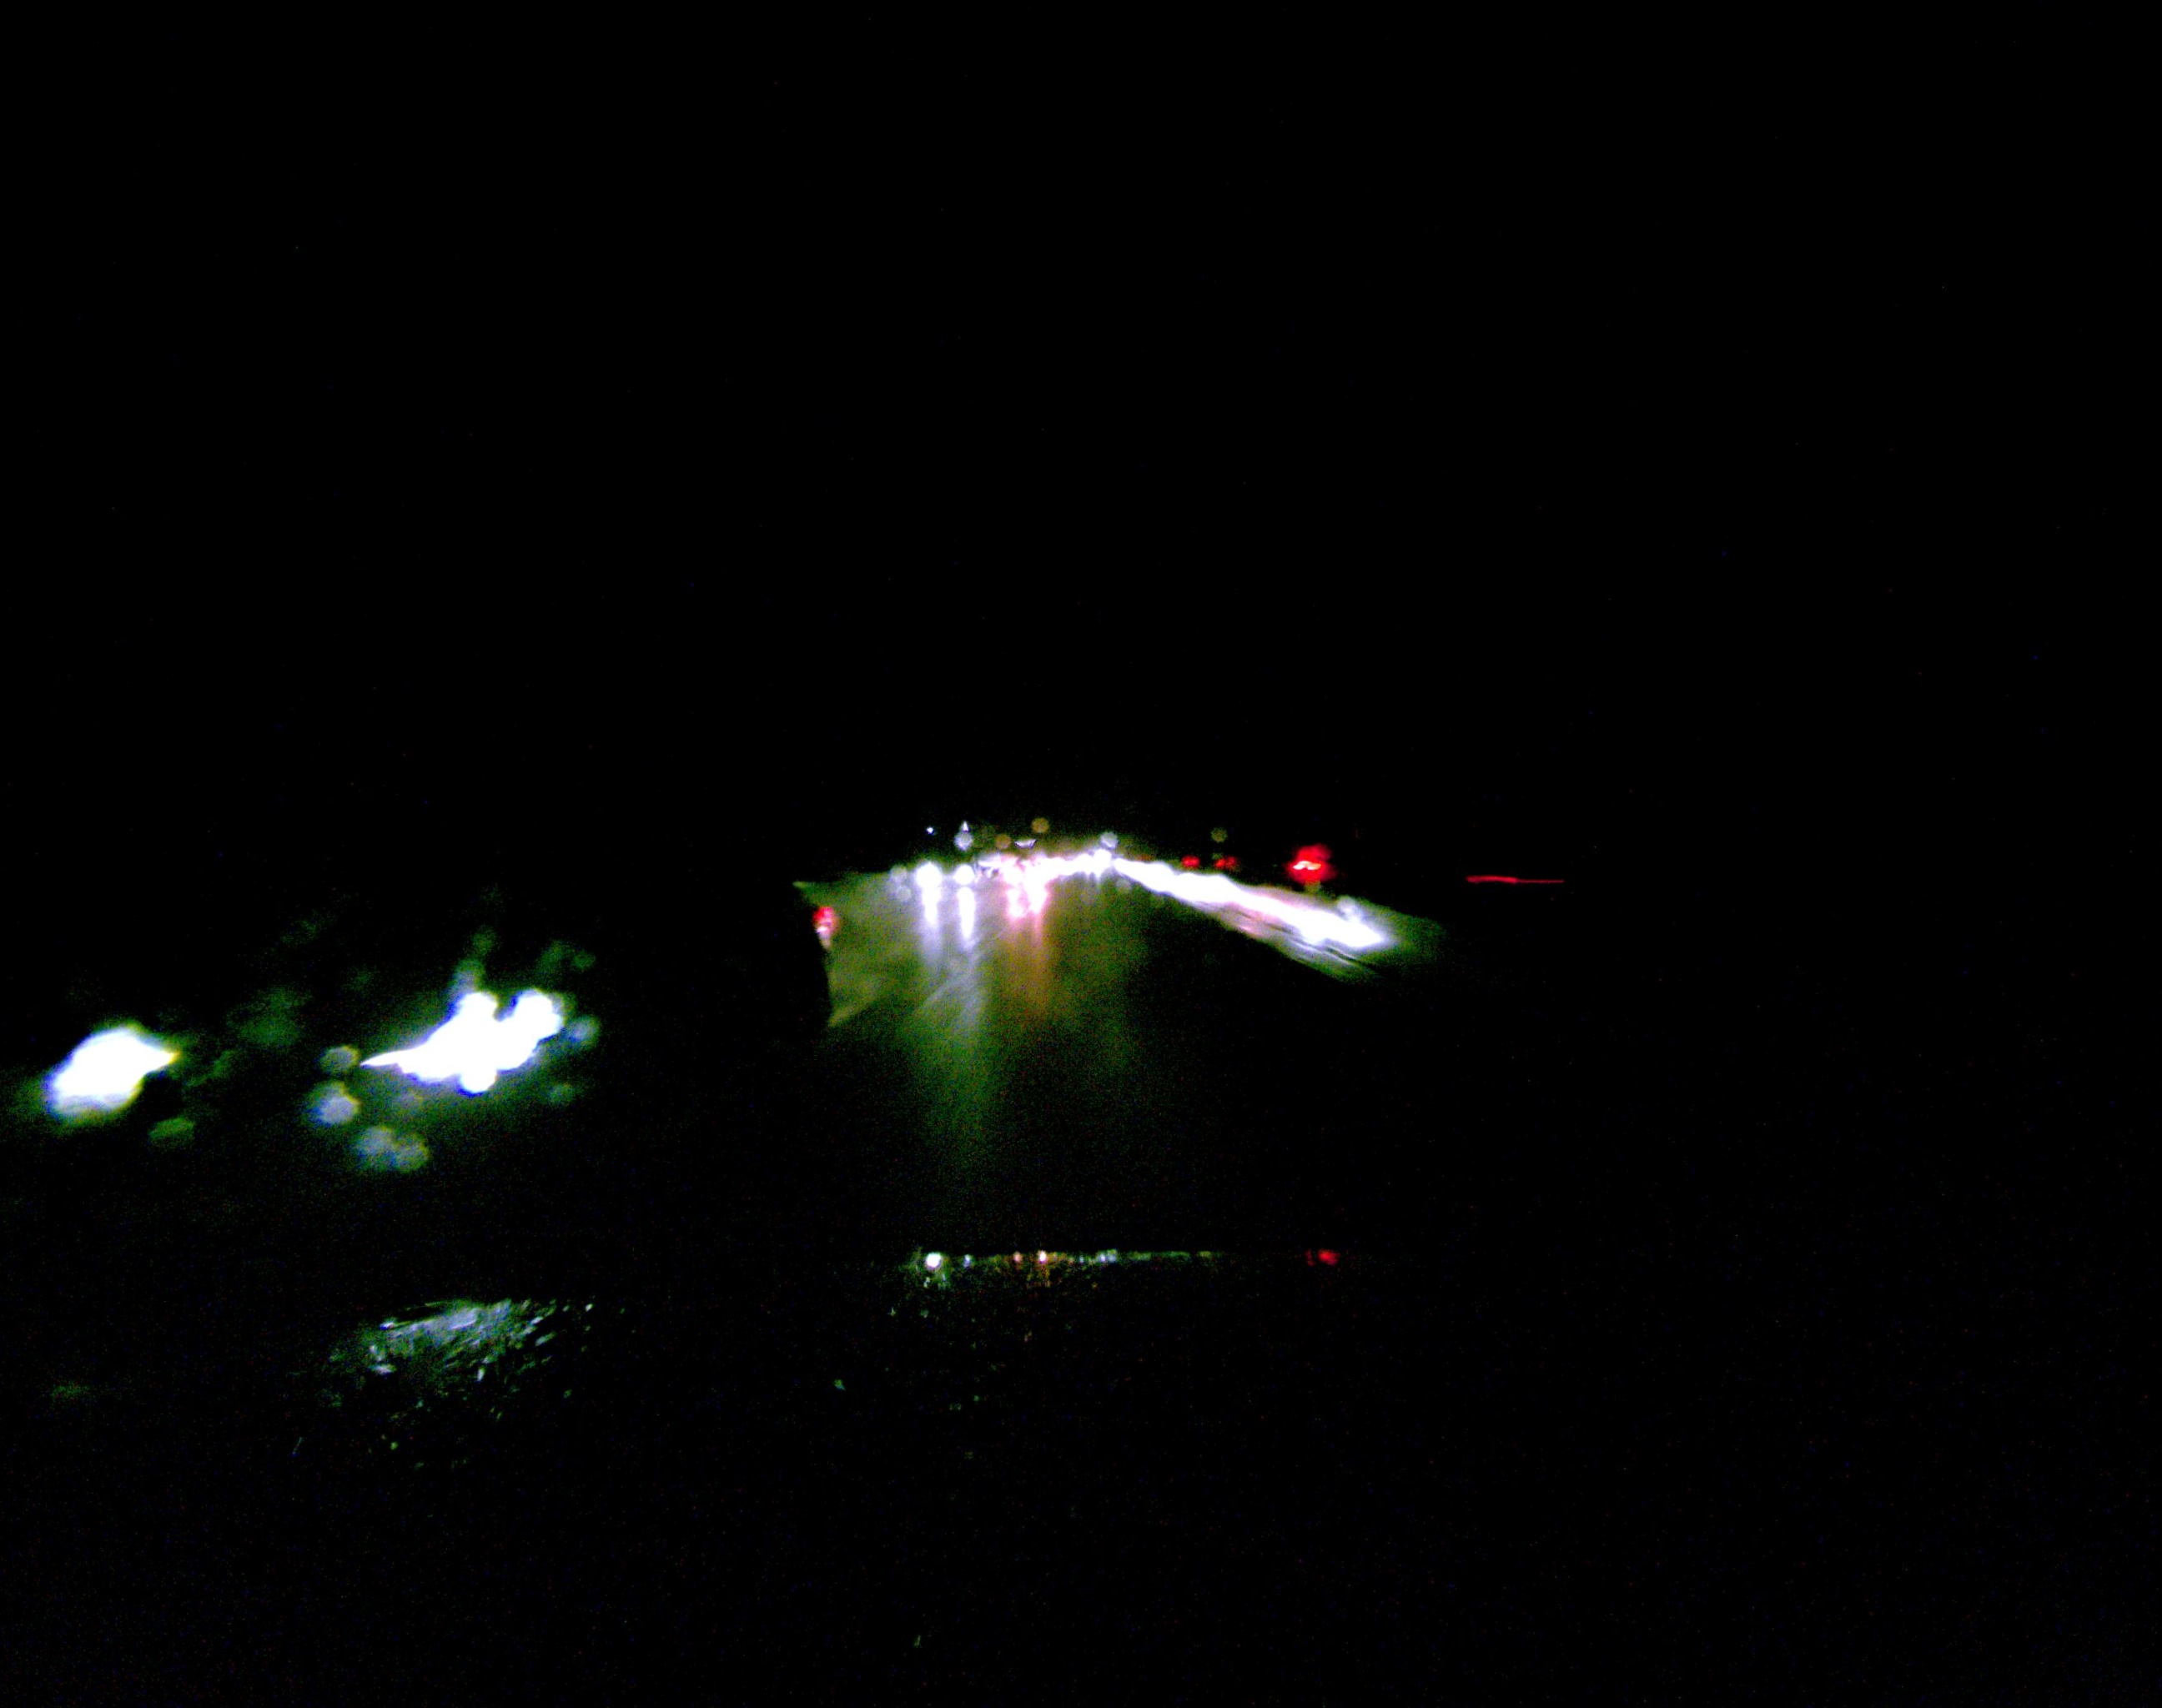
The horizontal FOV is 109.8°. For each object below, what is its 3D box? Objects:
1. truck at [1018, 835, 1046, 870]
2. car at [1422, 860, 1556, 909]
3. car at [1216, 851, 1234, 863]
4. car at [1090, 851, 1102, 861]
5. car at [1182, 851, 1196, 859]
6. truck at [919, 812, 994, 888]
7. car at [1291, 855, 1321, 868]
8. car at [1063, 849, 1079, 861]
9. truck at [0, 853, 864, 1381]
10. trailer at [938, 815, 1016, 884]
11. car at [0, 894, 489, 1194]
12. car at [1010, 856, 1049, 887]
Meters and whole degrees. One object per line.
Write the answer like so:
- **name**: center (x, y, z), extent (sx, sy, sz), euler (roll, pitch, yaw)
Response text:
- **truck**: center (-6.272, -0.219, 97.343), extent (2.777, 4.168, 6.017), euler (-3, 1, 2)
- **car**: center (13.226, 0.937, 25.028), extent (1.998, 1.407, 4.589), euler (0, 0, 1)
- **car**: center (22.303, 0.452, 118.007), extent (1.897, 1.574, 5.371), euler (-2, 1, 2)
- **car**: center (2.253, 0.277, 110.727), extent (1.619, 1.452, 3.767), euler (-2, 1, 2)
- **car**: center (18.864, 0.173, 133.142), extent (1.787, 1.414, 4.352), euler (1, 1, -1)
- **truck**: center (-7.242, -0.246, 45.406), extent (2.866, 4.079, 7.014), euler (-3, 1, 2)
- **car**: center (21.616, 0.736, 73.135), extent (1.642, 1.096, 4.046), euler (-2, 1, 0)
- **car**: center (-1.424, 0.129, 109.389), extent (1.944, 1.521, 4.000), euler (-2, 1, 2)
- **truck**: center (-3.131, 0.900, 4.979), extent (1.848, 1.686, 4.854), euler (-2, 1, 1)
- **trailer**: center (-6.894, -0.333, 53.046), extent (2.871, 4.074, 13.641), euler (-2, 1, 2)
- **car**: center (-6.787, 1.159, 4.812), extent (1.747, 1.470, 5.366), euler (-2, 0, 1)
- **car**: center (-2.719, 0.894, 41.017), extent (1.619, 1.494, 3.767), euler (-2, 1, 2)
